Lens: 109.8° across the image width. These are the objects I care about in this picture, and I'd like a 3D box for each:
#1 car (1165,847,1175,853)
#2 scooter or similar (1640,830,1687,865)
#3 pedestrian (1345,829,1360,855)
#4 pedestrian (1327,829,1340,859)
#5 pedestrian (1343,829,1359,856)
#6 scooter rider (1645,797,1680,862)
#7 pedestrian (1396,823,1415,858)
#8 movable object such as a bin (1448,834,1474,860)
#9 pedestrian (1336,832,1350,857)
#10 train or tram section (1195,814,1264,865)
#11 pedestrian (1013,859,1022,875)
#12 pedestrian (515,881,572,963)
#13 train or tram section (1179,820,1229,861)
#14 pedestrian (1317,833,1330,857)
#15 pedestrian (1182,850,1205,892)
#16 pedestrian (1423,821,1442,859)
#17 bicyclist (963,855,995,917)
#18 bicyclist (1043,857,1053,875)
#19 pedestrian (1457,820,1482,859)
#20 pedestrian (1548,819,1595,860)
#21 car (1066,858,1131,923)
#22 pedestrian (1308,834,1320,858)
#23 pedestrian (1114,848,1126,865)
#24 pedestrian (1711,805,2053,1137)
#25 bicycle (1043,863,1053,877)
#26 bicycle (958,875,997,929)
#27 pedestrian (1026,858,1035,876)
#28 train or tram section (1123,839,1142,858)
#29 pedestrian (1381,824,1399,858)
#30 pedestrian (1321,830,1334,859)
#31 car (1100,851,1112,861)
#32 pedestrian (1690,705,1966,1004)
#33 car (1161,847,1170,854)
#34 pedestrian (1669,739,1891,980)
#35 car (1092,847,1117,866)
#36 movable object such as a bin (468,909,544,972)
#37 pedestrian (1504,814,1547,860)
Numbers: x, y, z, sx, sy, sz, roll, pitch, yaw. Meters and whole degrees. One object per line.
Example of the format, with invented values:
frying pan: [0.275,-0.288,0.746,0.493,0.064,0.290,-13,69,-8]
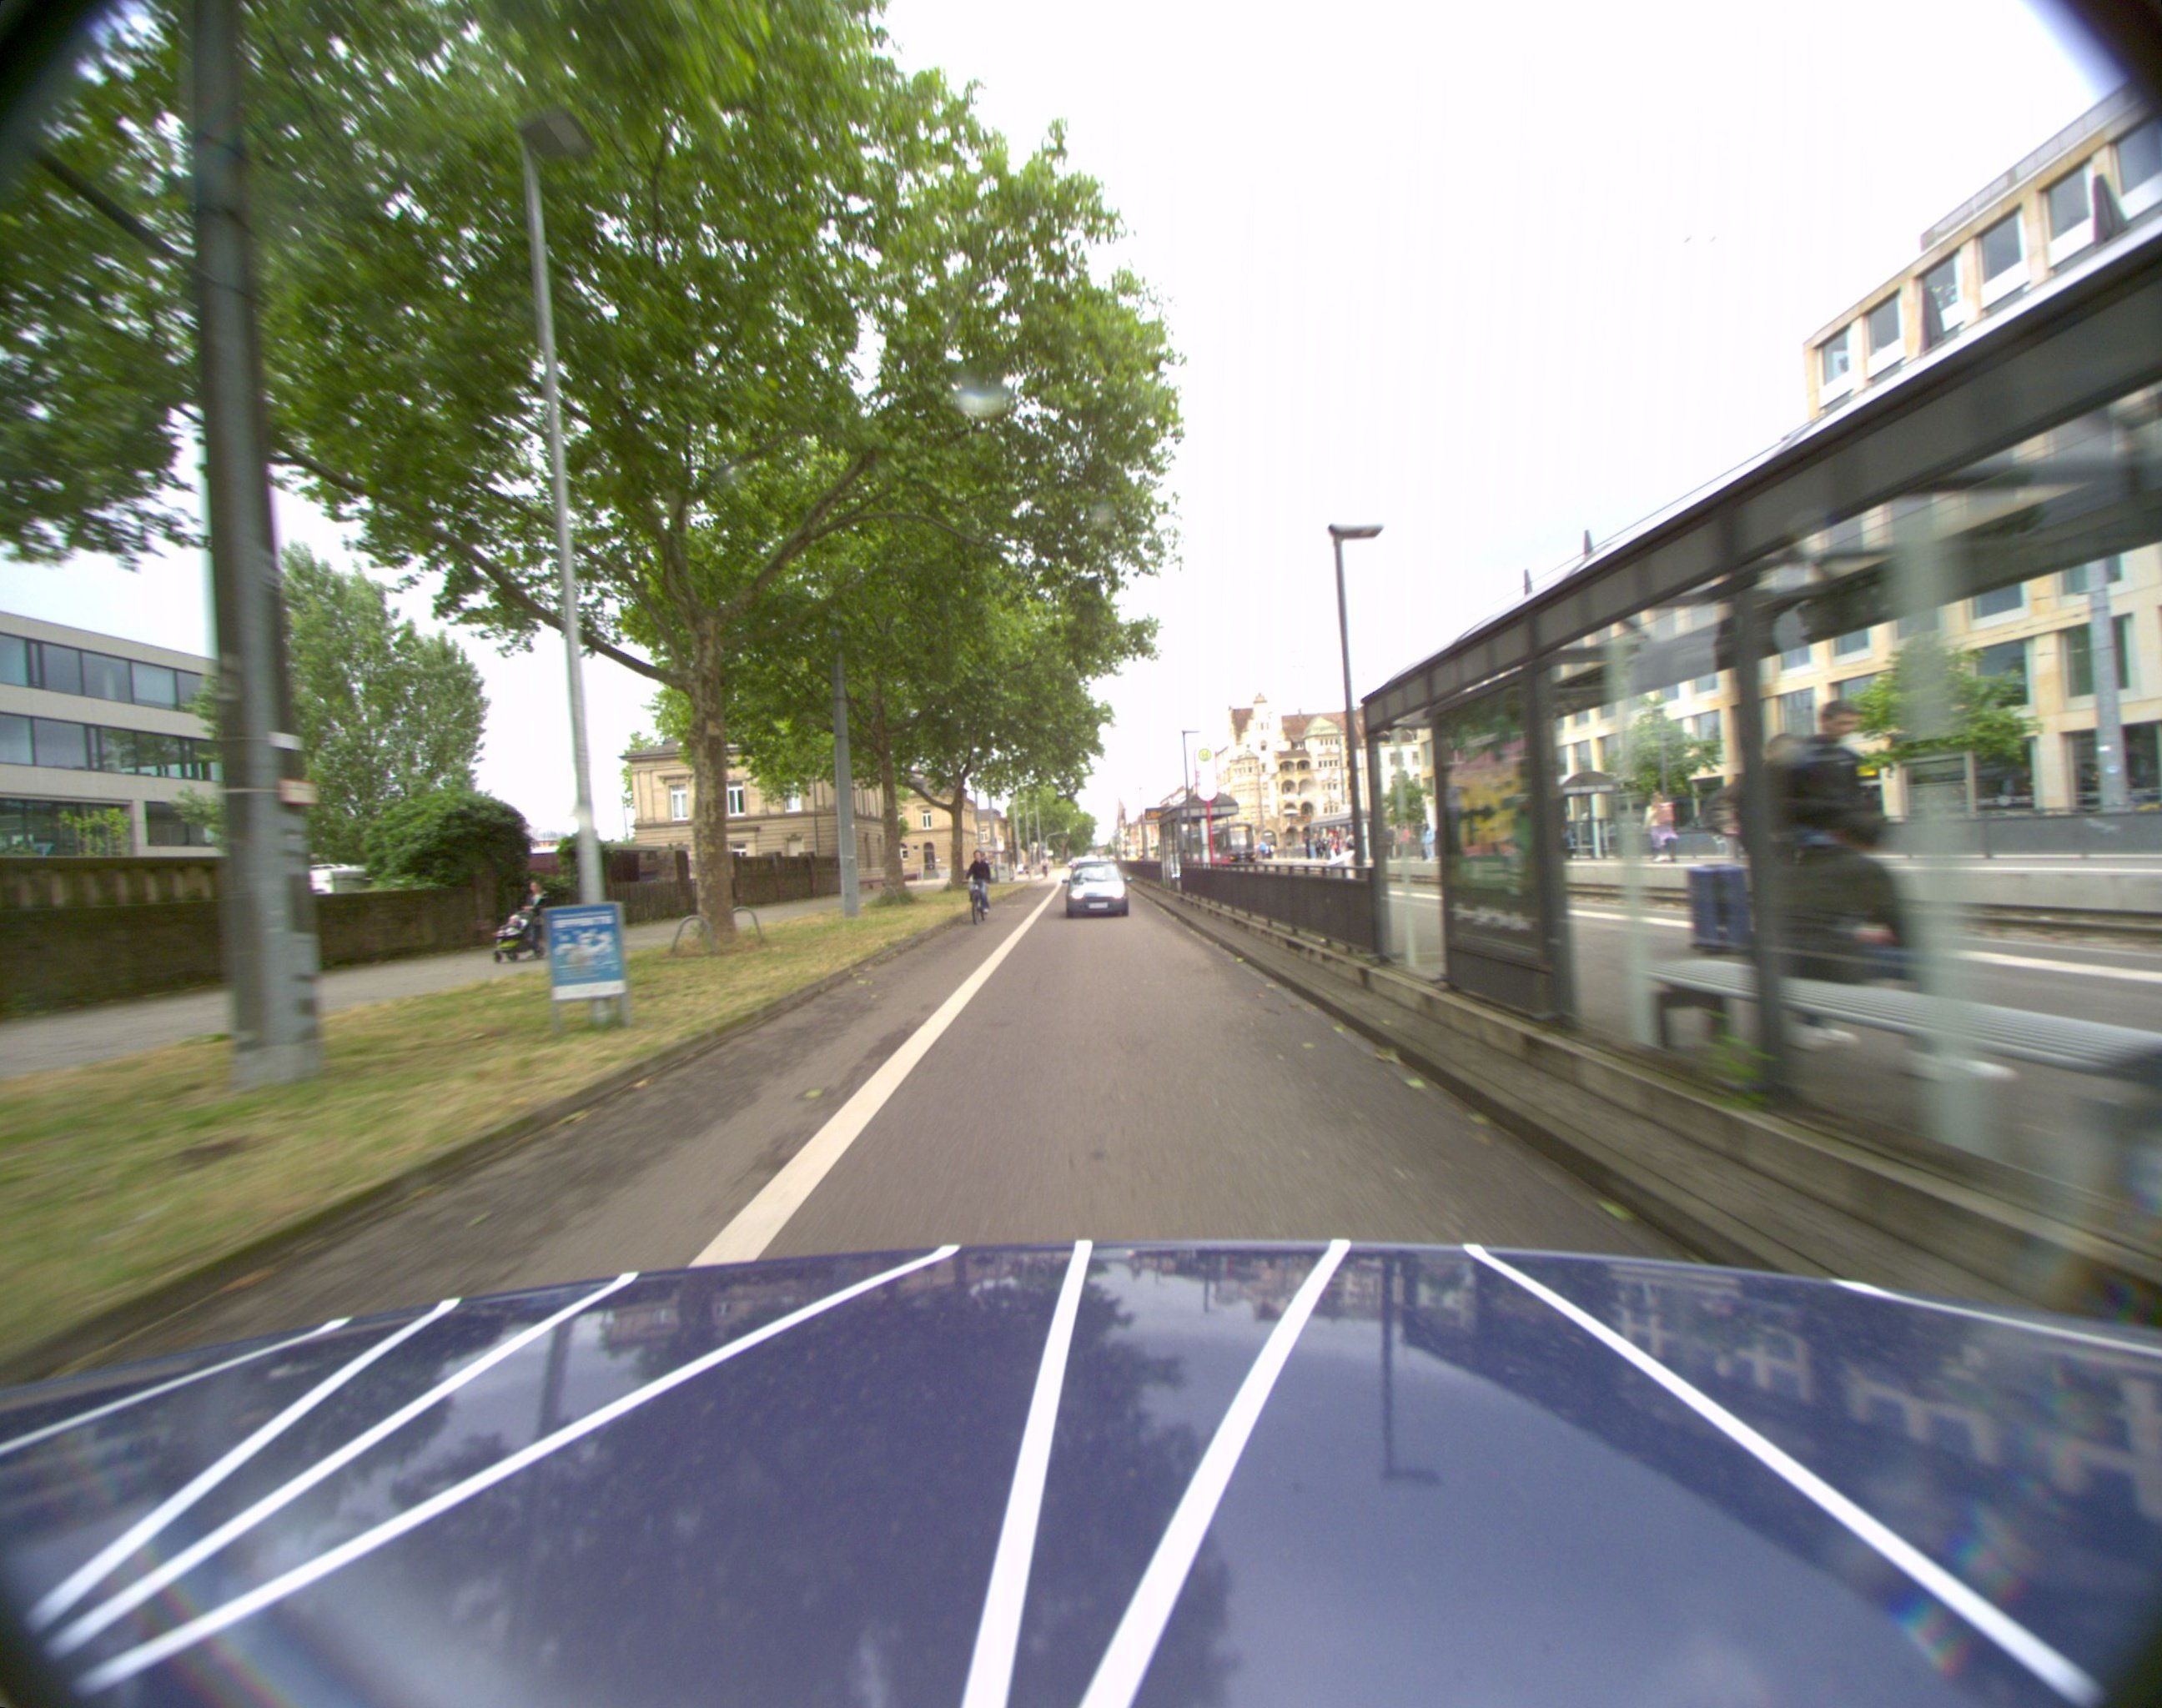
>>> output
car: [23.515,-1.058,201.413,1.999,1.587,3.998,-4,1,-2]
scooter or similar: [15.100,-0.172,19.713,0.388,0.844,1.004,-4,1,0]
pedestrian: [16.959,-0.734,47.505,0.589,1.579,0.596,-4,1,-18]
pedestrian: [15.524,-0.610,46.750,0.596,1.759,0.588,-4,1,8]
pedestrian: [16.615,-0.701,46.756,0.589,1.579,0.596,-4,1,-18]
scooter rider: [15.080,-0.619,19.698,0.404,1.640,0.554,-4,1,-1]
pedestrian: [17.933,-0.745,42.034,0.700,1.844,0.721,-4,1,7]
movable object such as a bin: [15.917,-0.298,31.798,0.622,1.015,0.721,-4,1,-32]
pedestrian: [17.083,-0.620,49.563,0.589,1.579,0.596,-4,1,-18]
train or tram section: [12.099,-1.161,63.581,2.862,3.671,13.517,-4,1,0]
pedestrian: [-6.949,1.457,83.298,0.720,1.668,1.000,-3,1,10]
pedestrian: [-11.320,1.414,16.022,0.559,1.623,0.670,-4,1,7]
train or tram section: [12.113,-1.354,76.284,2.862,3.619,11.697,-4,1,0]
pedestrian: [16.701,-0.622,52.347,0.589,1.579,0.596,-4,1,-18]
pedestrian: [3.800,0.576,25.772,0.612,1.365,0.600,-4,1,1]
pedestrian: [15.308,-0.605,33.090,0.536,1.598,0.565,-4,1,7]
bicyclist: [-2.604,0.811,19.406,0.642,1.522,0.664,-4,1,-1]
bicyclist: [-2.982,1.057,68.836,0.812,1.591,1.189,-4,1,-2]
pedestrian: [16.407,-0.618,32.088,0.580,1.598,0.655,-5,2,-32]
pedestrian: [17.416,-0.505,26.989,1.040,1.364,0.939,-4,1,4]
car: [0.490,0.919,20.536,1.534,1.464,3.353,-3,1,2]
pedestrian: [15.777,-0.552,51.383,0.596,1.579,0.588,-4,1,8]
pedestrian: [3.984,0.266,77.240,0.862,1.633,0.651,-5,2,-41]
pedestrian: [3.498,0.470,3.379,0.837,1.296,0.613,-4,1,-1]
bicycle: [-2.975,1.457,68.877,0.814,1.163,2.276,-4,1,-1]
bicycle: [-2.583,1.177,19.226,0.654,1.143,2.282,-4,1,-1]
pedestrian: [-4.421,1.138,66.661,0.552,1.520,0.639,-3,1,18]
train or tram section: [9.916,-1.109,147.735,2.651,3.417,13.617,-4,1,1]
pedestrian: [16.543,-0.672,40.636,0.589,1.759,0.596,-5,2,-36]
pedestrian: [15.561,-0.605,47.892,0.596,1.759,0.588,-4,1,8]
car: [4.337,0.333,133.952,1.869,1.630,3.774,-4,1,-1]
pedestrian: [5.009,-0.003,5.183,0.672,1.783,1.112,-4,1,-8]
car: [23.120,-1.006,207.949,1.999,1.587,3.998,-4,1,-2]
pedestrian: [5.720,0.035,6.287,0.672,1.783,1.112,-4,1,-12]
car: [1.952,0.204,64.501,1.998,1.443,4.100,-4,1,1]
movable object such as a bin: [-11.403,1.704,15.109,0.613,1.106,1.015,-4,0,7]
pedestrian: [16.969,-0.647,29.003,1.040,1.676,0.939,-4,1,4]
